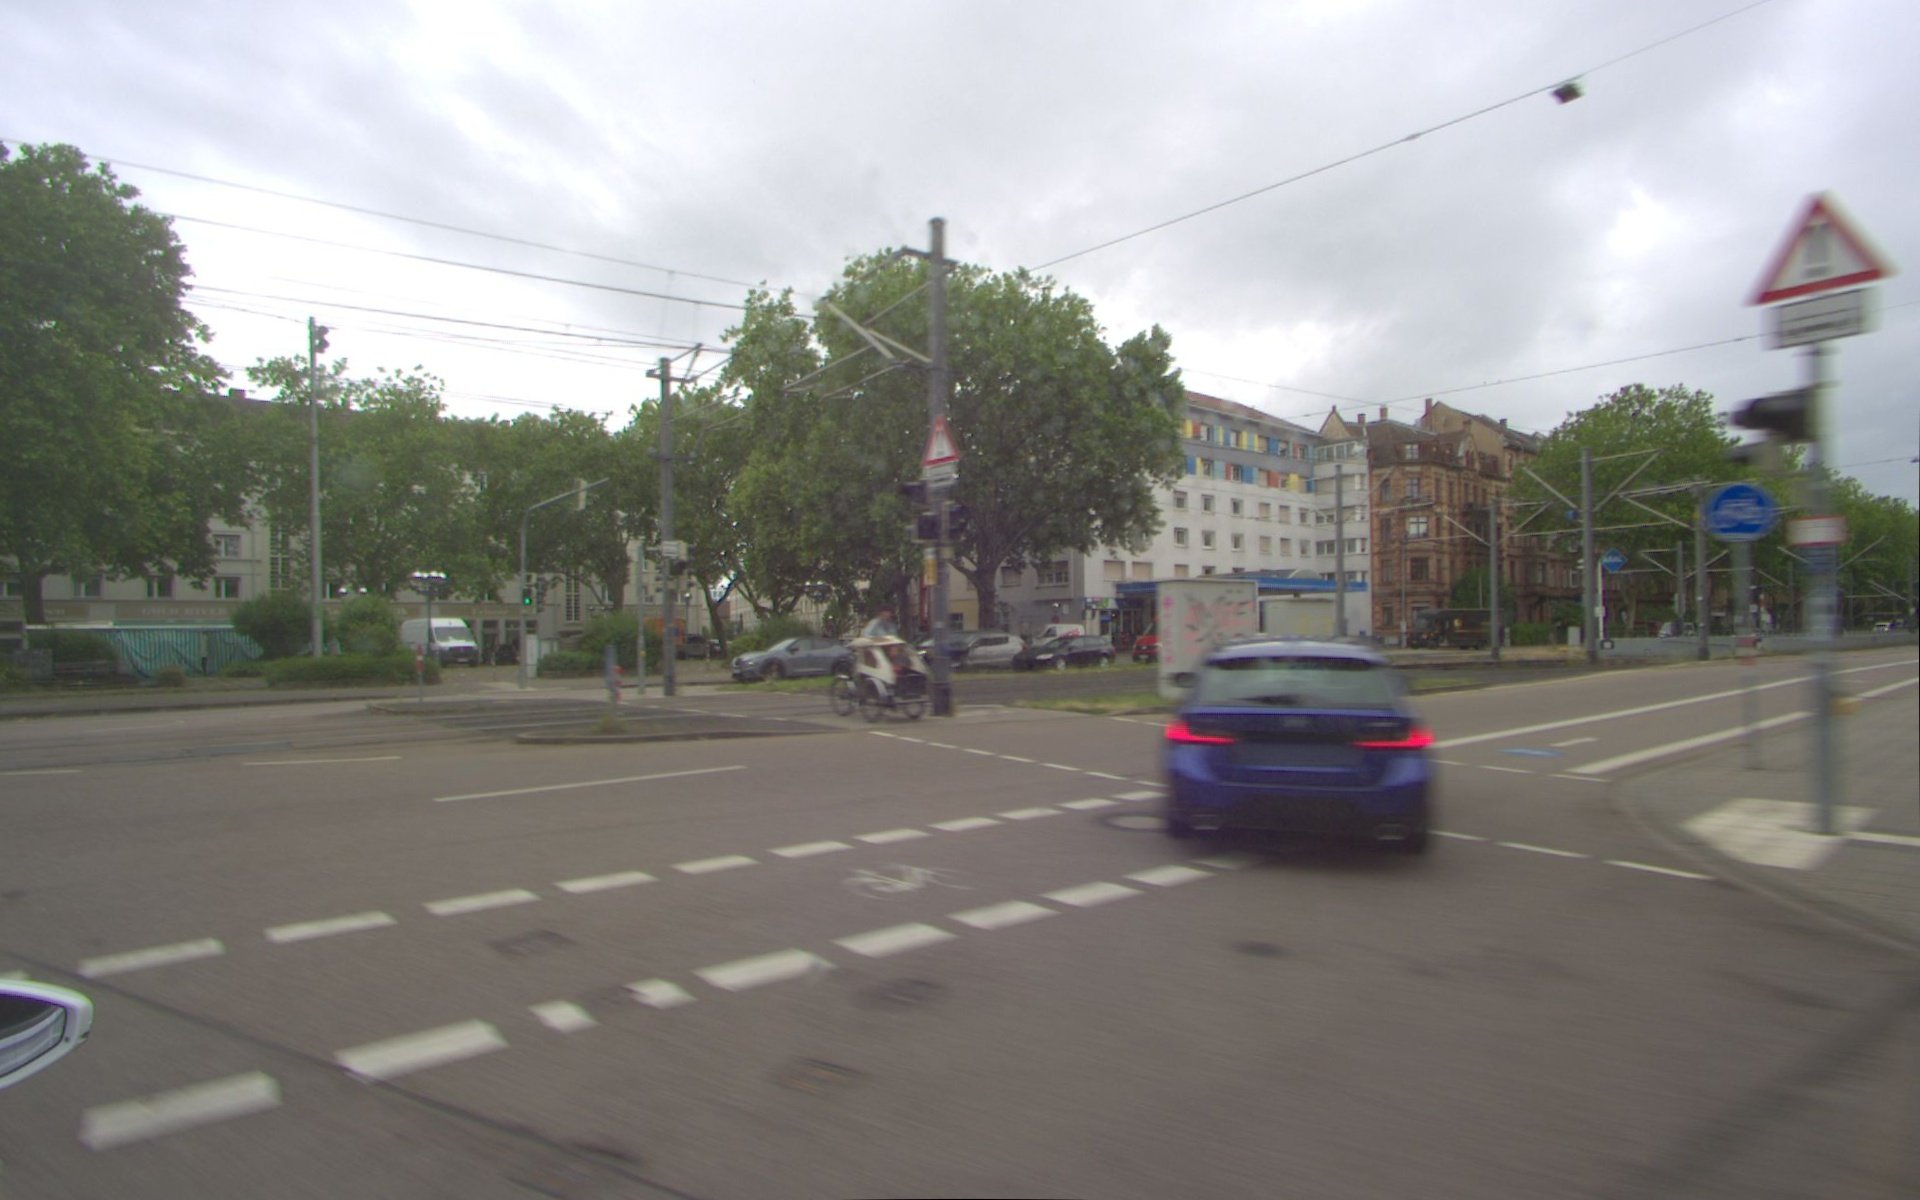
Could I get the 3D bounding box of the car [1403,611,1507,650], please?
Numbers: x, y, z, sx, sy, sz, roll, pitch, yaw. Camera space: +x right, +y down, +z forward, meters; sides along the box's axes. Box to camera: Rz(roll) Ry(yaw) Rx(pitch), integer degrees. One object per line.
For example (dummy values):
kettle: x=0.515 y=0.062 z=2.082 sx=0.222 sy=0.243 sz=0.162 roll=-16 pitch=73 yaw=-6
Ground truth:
car: x=36.780 y=2.265 z=74.501 sx=6.975 sy=2.762 sz=2.246 roll=0 pitch=-2 yaw=-12

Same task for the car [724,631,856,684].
car: x=-5.499 y=1.843 z=32.606 sx=3.946 sy=1.581 sz=1.673 roll=1 pitch=-2 yaw=-41

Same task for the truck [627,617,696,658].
truck: x=-19.418 y=2.438 z=65.164 sx=3.947 sy=2.624 sz=2.373 roll=-2 pitch=-2 yaw=35

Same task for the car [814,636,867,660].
car: x=-8.771 y=3.497 z=73.734 sx=3.776 sy=1.643 sz=1.499 roll=1 pitch=-2 yaw=-44

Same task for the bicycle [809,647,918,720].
bicycle: x=-1.488 y=1.225 z=15.055 sx=0.547 sy=1.008 sz=2.043 roll=0 pitch=-2 yaw=-41

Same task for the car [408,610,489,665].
car: x=-26.600 y=1.945 z=51.995 sx=2.222 sy=2.673 sz=5.393 roll=1 pitch=-2 yaw=-45

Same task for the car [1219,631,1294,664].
car: x=14.802 y=2.357 z=49.898 sx=4.105 sy=1.549 sz=1.673 roll=1 pitch=-2 yaw=-41

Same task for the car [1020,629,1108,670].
car: x=4.287 y=2.012 z=40.961 sx=3.430 sy=1.581 sz=1.673 roll=1 pitch=-2 yaw=-41

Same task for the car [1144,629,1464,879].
car: x=2.539 y=0.954 z=8.039 sx=1.788 sy=1.423 sz=4.317 roll=-1 pitch=-2 yaw=14

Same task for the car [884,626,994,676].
car: x=-0.740 y=1.854 z=37.053 sx=3.907 sy=1.733 sz=1.673 roll=1 pitch=-2 yaw=-41

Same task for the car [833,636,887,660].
car: x=-7.185 y=3.428 z=71.997 sx=3.776 sy=1.643 sz=1.499 roll=1 pitch=-2 yaw=-44

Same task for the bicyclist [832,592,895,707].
bicyclist: x=-1.445 y=0.735 z=15.019 sx=0.609 sy=1.675 sz=0.747 roll=0 pitch=-1 yaw=-42

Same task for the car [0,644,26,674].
car: x=-51.898 y=3.186 z=54.055 sx=1.781 sy=1.535 sz=3.799 roll=0 pitch=-2 yaw=-38

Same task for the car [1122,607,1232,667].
car: x=9.960 y=1.664 z=45.645 sx=5.550 sy=2.571 sz=1.976 roll=1 pitch=-2 yaw=-41

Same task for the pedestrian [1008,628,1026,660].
pedestrian: x=2.830 y=2.193 z=49.884 sx=0.565 sy=1.591 sz=0.704 roll=0 pitch=-2 yaw=-40

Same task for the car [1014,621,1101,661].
car: x=5.580 y=2.319 z=57.029 sx=5.033 sy=2.123 sz=1.976 roll=1 pitch=-2 yaw=-41
